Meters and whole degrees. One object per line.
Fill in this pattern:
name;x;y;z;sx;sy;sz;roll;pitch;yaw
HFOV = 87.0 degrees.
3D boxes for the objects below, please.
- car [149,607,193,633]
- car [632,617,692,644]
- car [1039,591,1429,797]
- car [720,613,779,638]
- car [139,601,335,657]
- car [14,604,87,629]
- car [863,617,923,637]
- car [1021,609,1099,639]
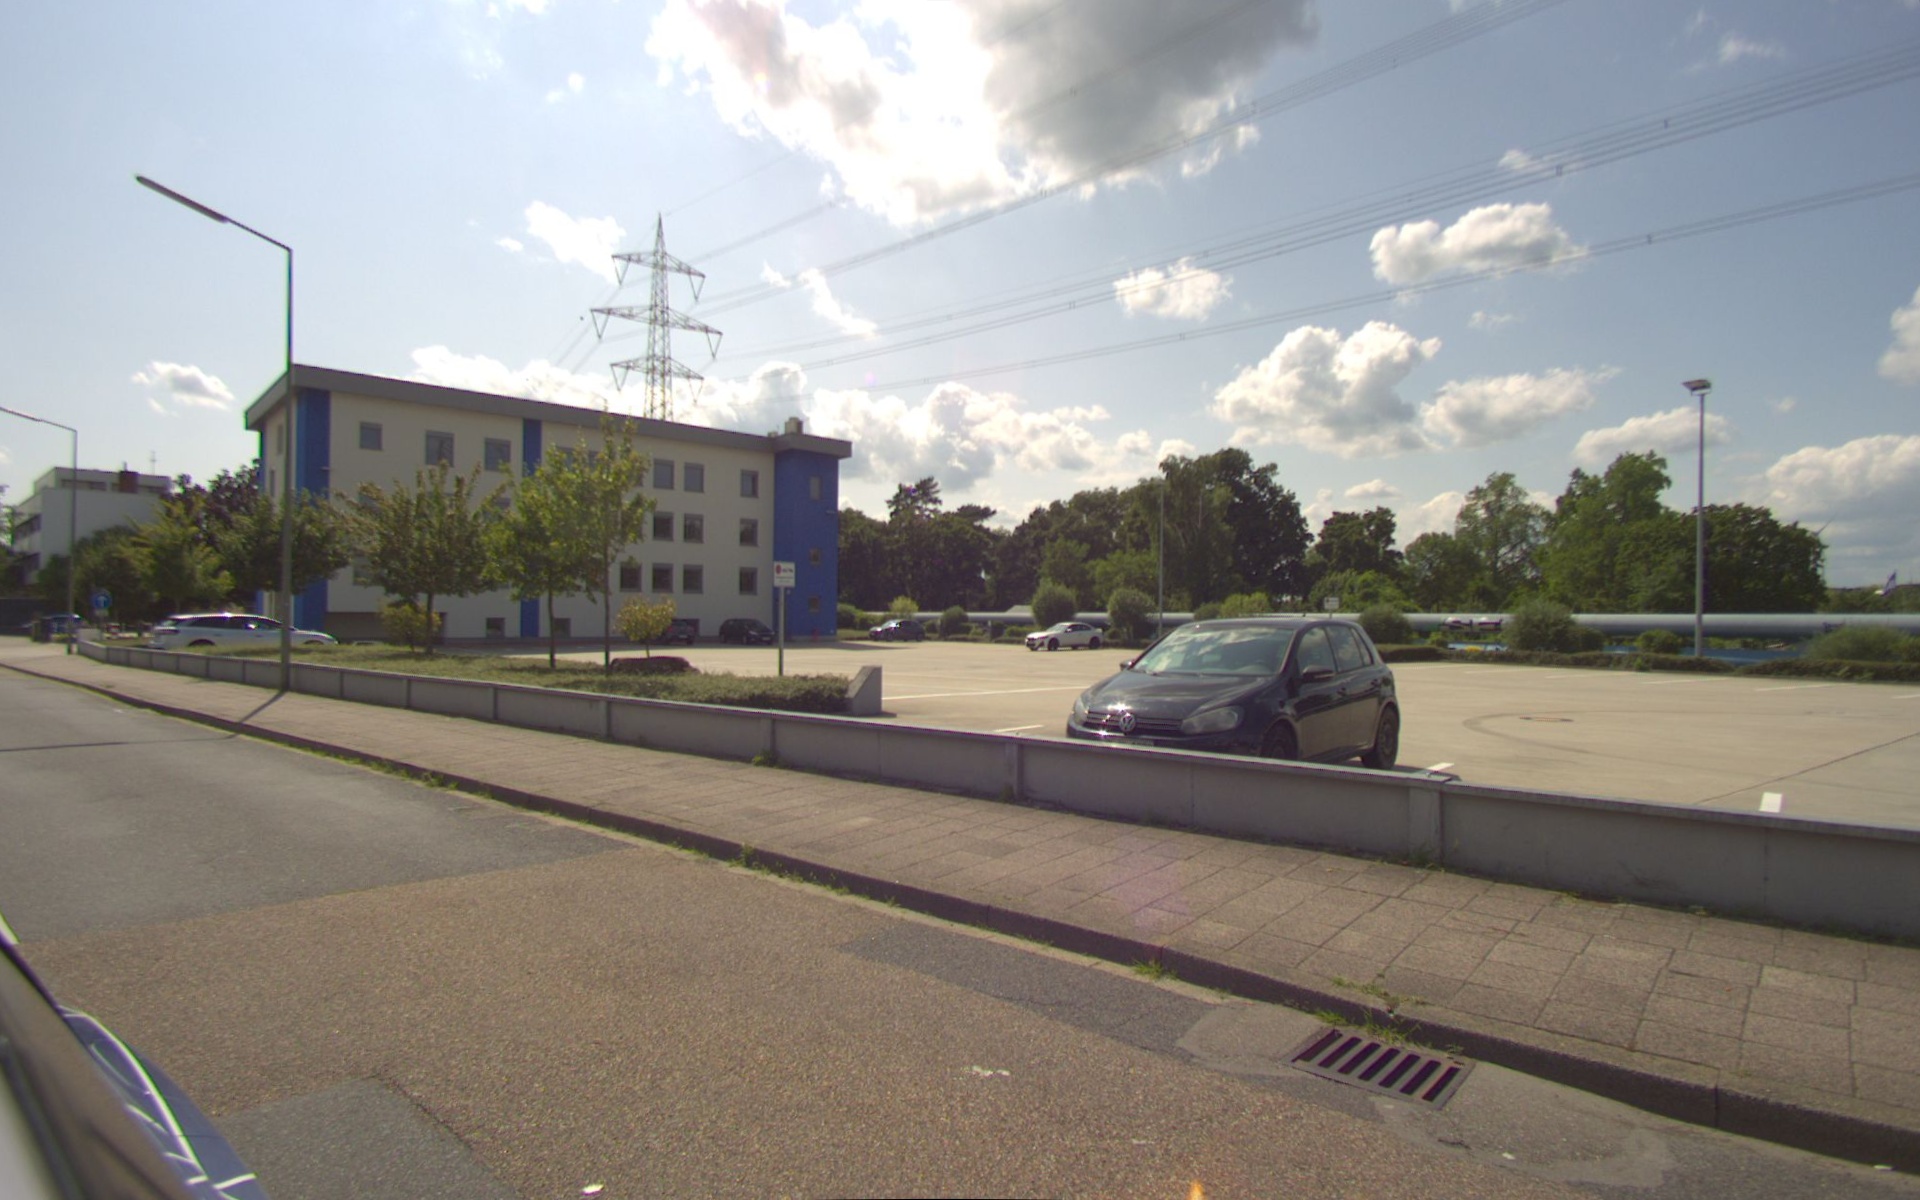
car;-52.248;1.319;66.984;1.802;1.649;4.849;2;-2;-44
car;-16.242;1.646;55.056;1.544;1.386;3.682;2;-2;-45
car;2.585;0.687;8.908;1.803;1.386;3.945;-1;-2;41
car;-12.056;1.447;57.855;1.544;1.386;3.683;2;-2;-45
car;-22.664;0.880;31.889;1.999;1.614;4.705;-1;-1;41
car;-64.356;1.193;71.677;1.877;1.721;3.610;0;-2;40
car;-4.383;1.778;66.633;3.553;1.261;1.806;2;-2;-41
car;5.200;1.267;52.341;3.763;1.485;1.808;1;-2;-36
